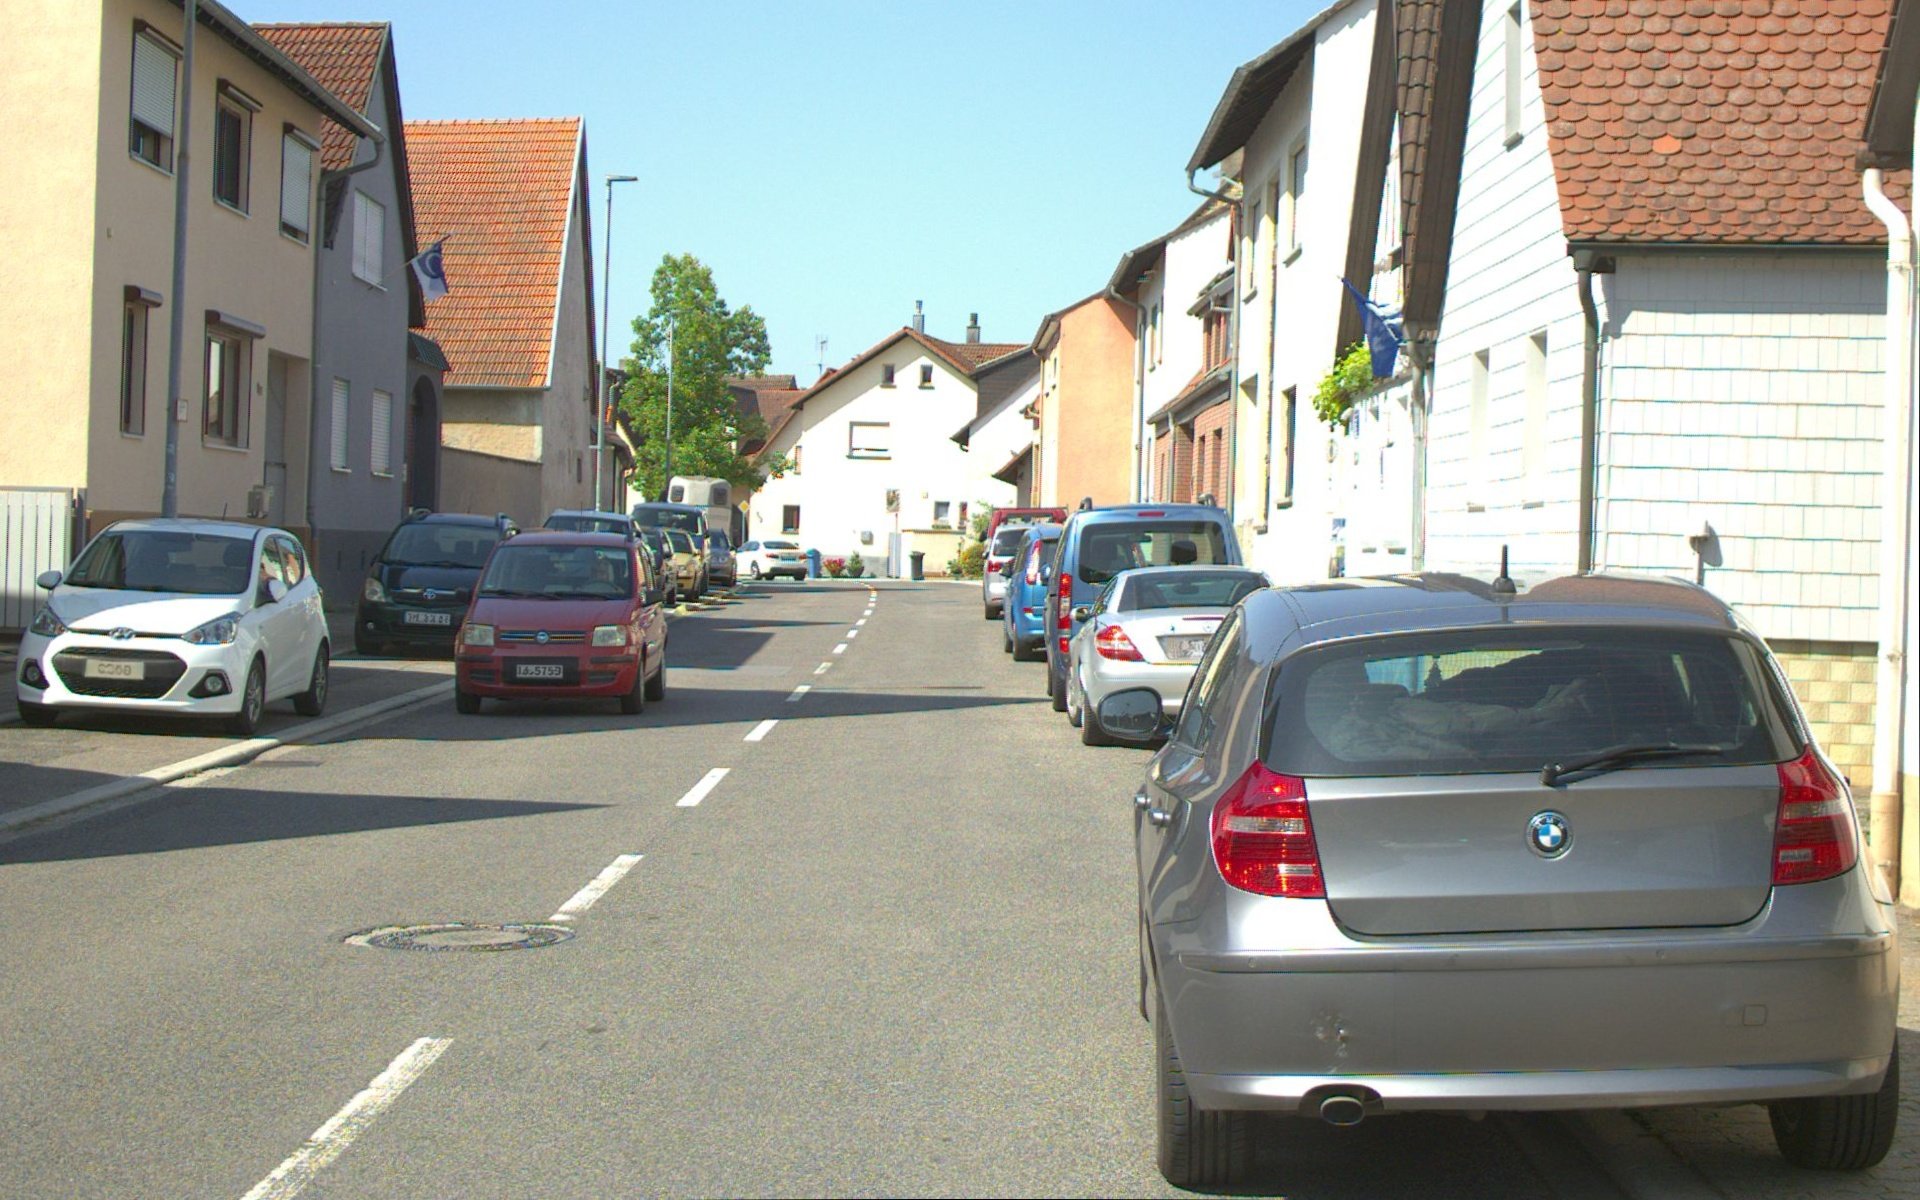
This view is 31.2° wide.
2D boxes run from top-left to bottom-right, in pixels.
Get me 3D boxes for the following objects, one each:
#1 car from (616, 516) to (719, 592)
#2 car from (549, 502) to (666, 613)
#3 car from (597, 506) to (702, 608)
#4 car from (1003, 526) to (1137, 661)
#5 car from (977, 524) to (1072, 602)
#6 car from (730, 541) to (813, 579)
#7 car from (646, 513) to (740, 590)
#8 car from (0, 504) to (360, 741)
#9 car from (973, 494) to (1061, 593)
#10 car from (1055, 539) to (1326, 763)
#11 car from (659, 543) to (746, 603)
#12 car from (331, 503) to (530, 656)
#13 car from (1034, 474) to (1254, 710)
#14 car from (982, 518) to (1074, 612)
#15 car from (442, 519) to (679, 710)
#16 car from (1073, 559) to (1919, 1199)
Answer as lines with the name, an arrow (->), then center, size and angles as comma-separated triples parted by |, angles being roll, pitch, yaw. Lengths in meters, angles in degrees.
car -> -5.824, -0.905, 68.773 | 1.754, 1.437, 4.000 | 1, 0, -1
car -> -5.788, -0.706, 56.715 | 1.527, 1.707, 3.626 | 3, 1, -1
car -> -5.568, -0.776, 61.954 | 1.527, 1.707, 3.626 | 3, 1, -1
car -> 1.306, -0.100, 41.718 | 1.420, 1.510, 3.304 | 3, 1, -1
car -> 1.244, -0.719, 67.108 | 1.767, 1.428, 3.450 | 1, 0, 1
car -> -6.754, -1.442, 122.781 | 1.993, 1.284, 4.001 | 1, 0, -17
car -> -5.884, -1.061, 76.110 | 1.754, 1.619, 4.000 | 1, 0, -1
car -> -5.835, 0.119, 25.678 | 1.806, 1.542, 4.404 | 3, 1, 1
car -> 1.201, -1.184, 72.481 | 1.767, 1.997, 3.450 | 1, 0, 1
car -> 1.661, 0.330, 25.807 | 1.704, 1.491, 3.452 | 3, 1, -1
car -> -6.381, -0.671, 85.460 | 1.754, 1.437, 4.000 | 1, 0, 1
car -> -5.939, -0.246, 38.926 | 1.619, 1.572, 3.962 | 3, 1, -1
car -> 1.584, -0.095, 30.671 | 1.649, 1.903, 3.626 | 3, 1, -1
car -> 1.152, -0.609, 59.295 | 1.420, 1.510, 3.304 | 3, 1, -1
car -> -3.404, 0.089, 29.831 | 1.601, 1.484, 3.626 | 3, 1, -1
car -> 1.239, 0.616, 9.099 | 1.704, 1.428, 3.890 | 0, 1, -1
